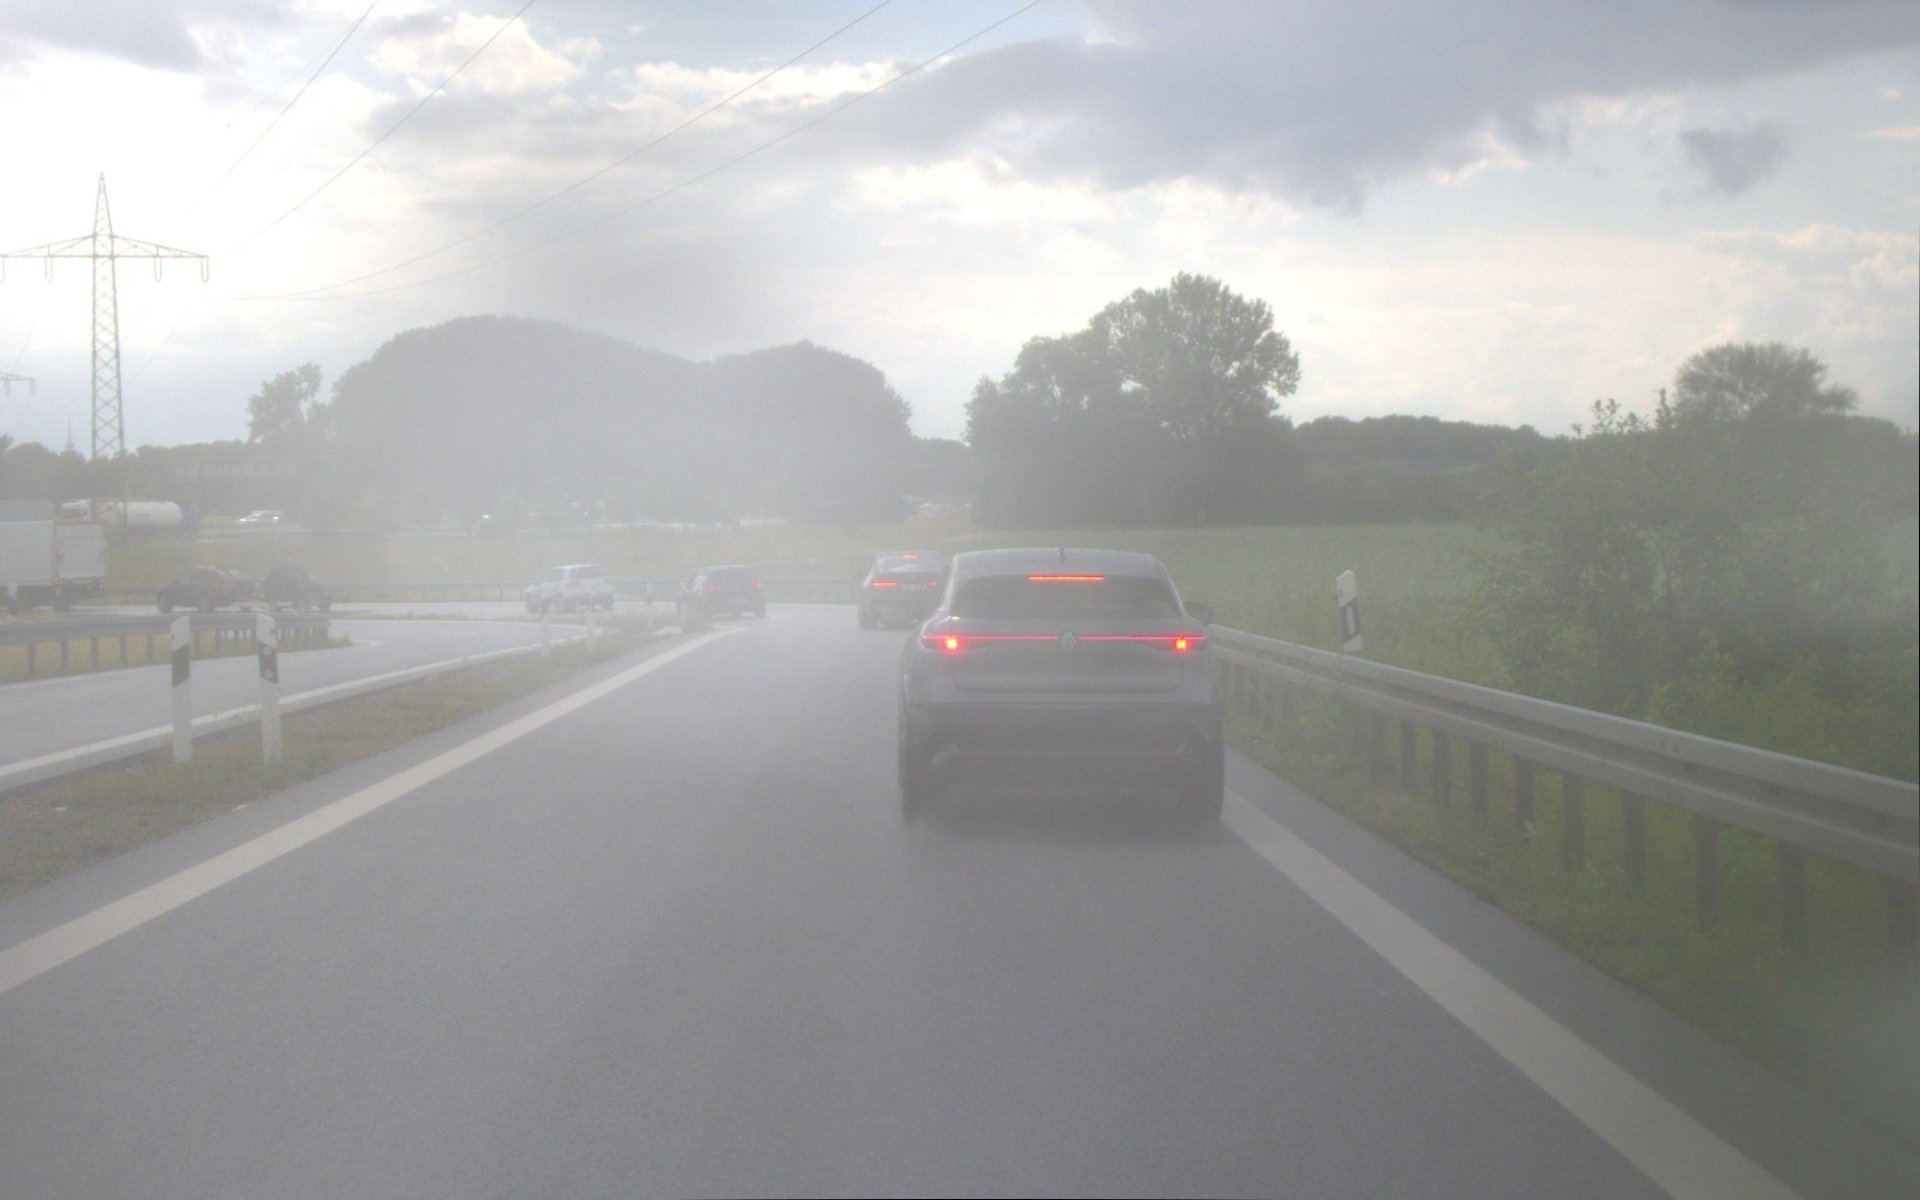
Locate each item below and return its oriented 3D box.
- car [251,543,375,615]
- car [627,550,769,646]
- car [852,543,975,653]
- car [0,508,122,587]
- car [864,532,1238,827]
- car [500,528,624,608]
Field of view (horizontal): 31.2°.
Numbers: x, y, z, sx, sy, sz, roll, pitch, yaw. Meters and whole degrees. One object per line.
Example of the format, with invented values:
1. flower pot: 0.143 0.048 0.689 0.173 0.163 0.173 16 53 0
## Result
1. car: -23.442 -0.793 124.483 2.352 2.299 5.128 -3 4 -37
2. car: -7.256 -0.099 94.724 2.351 2.299 5.130 -2 4 -23
3. car: -0.969 -0.083 67.995 2.121 2.011 5.535 -1 1 -4
4. car: -37.616 -2.174 139.388 7.200 2.941 3.140 2 4 36
5. car: 0.536 0.387 20.575 1.993 1.561 4.149 1 1 1
6. car: -12.962 -1.071 111.703 2.351 2.299 5.130 -2 4 -26
